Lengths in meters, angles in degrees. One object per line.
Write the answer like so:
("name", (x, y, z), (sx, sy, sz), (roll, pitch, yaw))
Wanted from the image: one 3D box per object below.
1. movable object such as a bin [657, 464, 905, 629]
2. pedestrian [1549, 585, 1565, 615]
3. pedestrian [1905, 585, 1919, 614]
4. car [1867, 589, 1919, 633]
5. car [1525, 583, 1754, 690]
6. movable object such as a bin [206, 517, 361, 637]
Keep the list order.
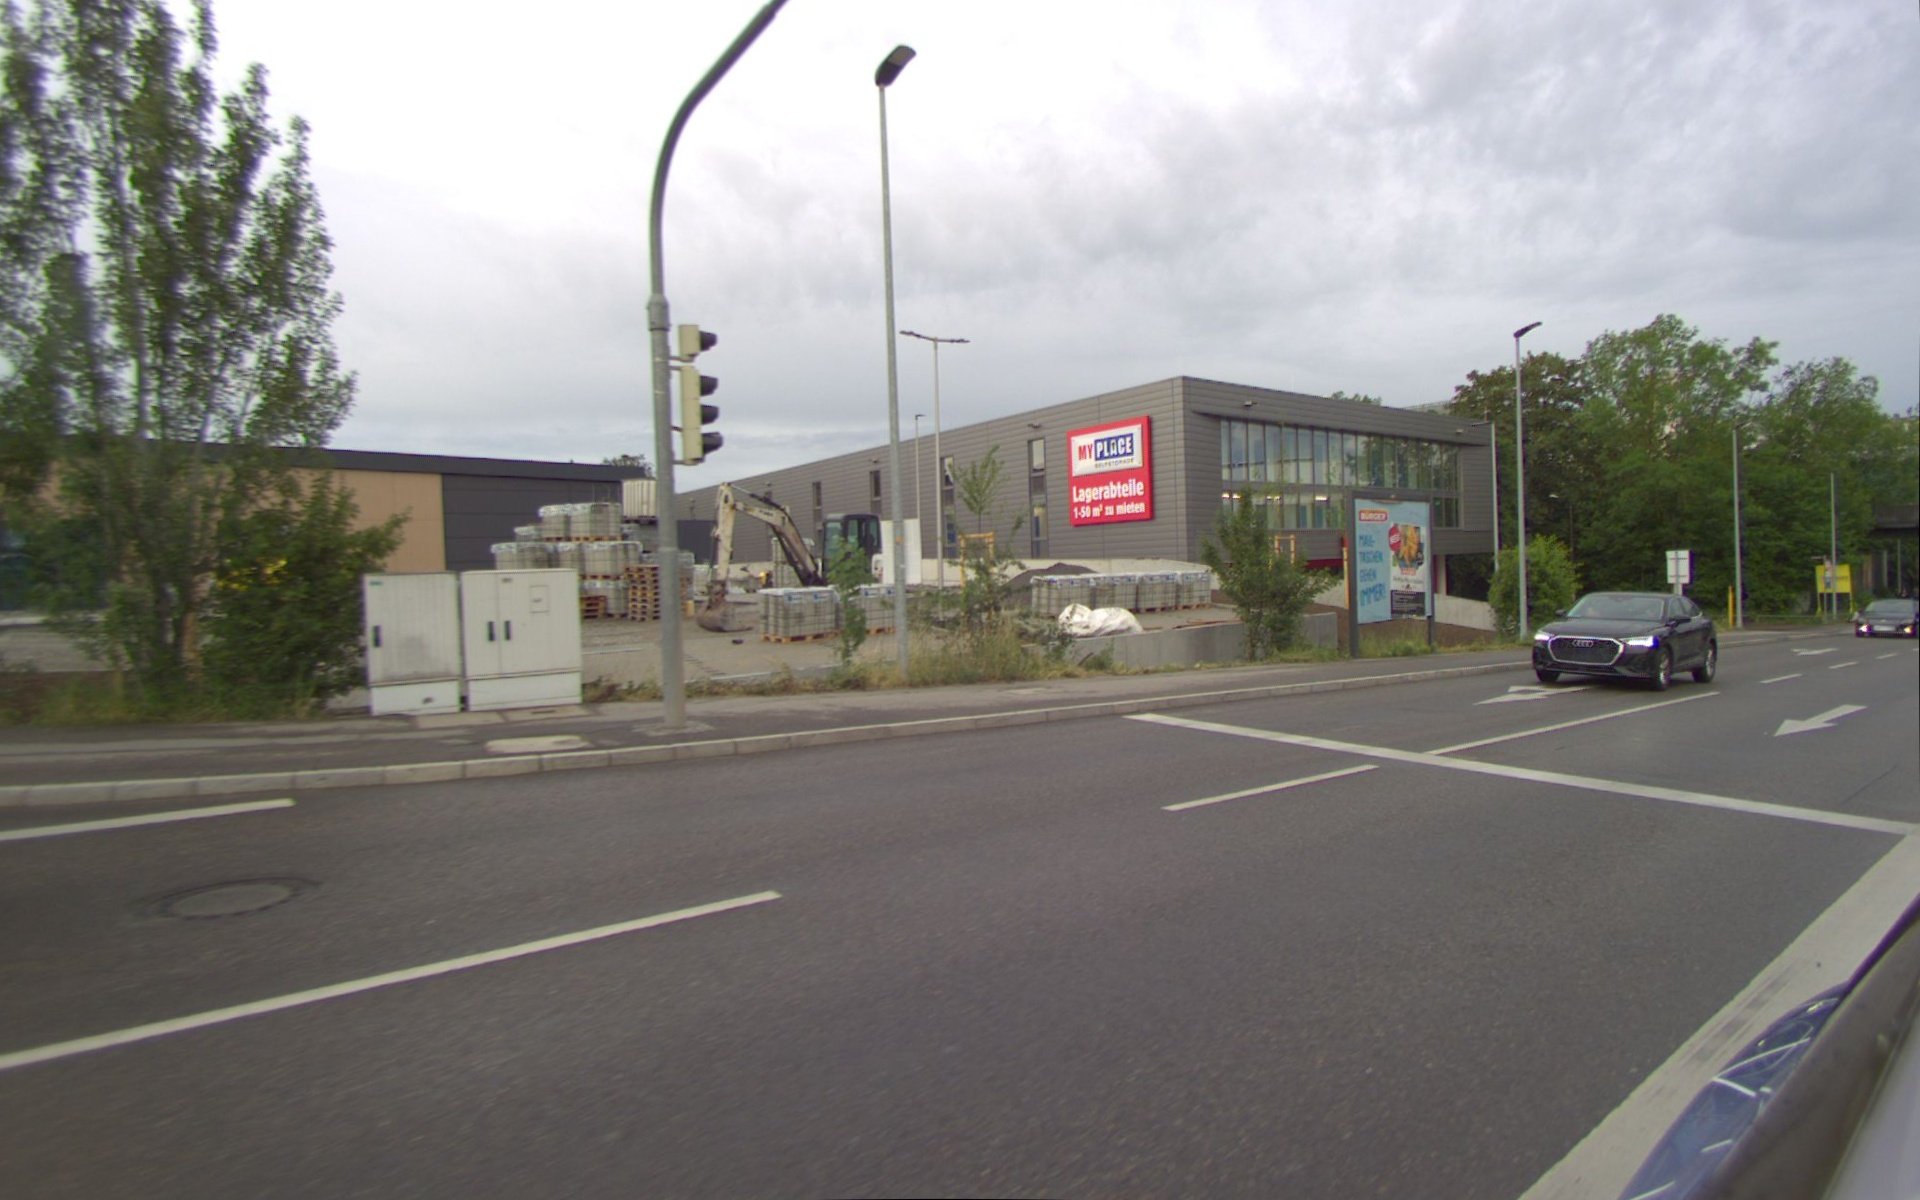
("movable object such as a bin", (-3.952, -1.083, 23.162), (2.300, 3.318, 5.341), (-1, -1, 42))
("pedestrian", (37.711, 0.004, 63.908), (0.588, 1.839, 0.587), (-1, 0, -12))
("pedestrian", (55.474, -0.037, 58.838), (0.567, 1.616, 0.653), (-1, 1, -28))
("car", (36.112, 0.384, 38.496), (4.438, 1.448, 1.748), (-3, 1, -40))
("car", (11.795, 0.498, 17.377), (5.509, 1.564, 1.819), (-1, 1, -40))
("movable object such as a bin", (-16.480, -0.509, 24.969), (1.860, 2.652, 4.989), (0, 0, -18))
